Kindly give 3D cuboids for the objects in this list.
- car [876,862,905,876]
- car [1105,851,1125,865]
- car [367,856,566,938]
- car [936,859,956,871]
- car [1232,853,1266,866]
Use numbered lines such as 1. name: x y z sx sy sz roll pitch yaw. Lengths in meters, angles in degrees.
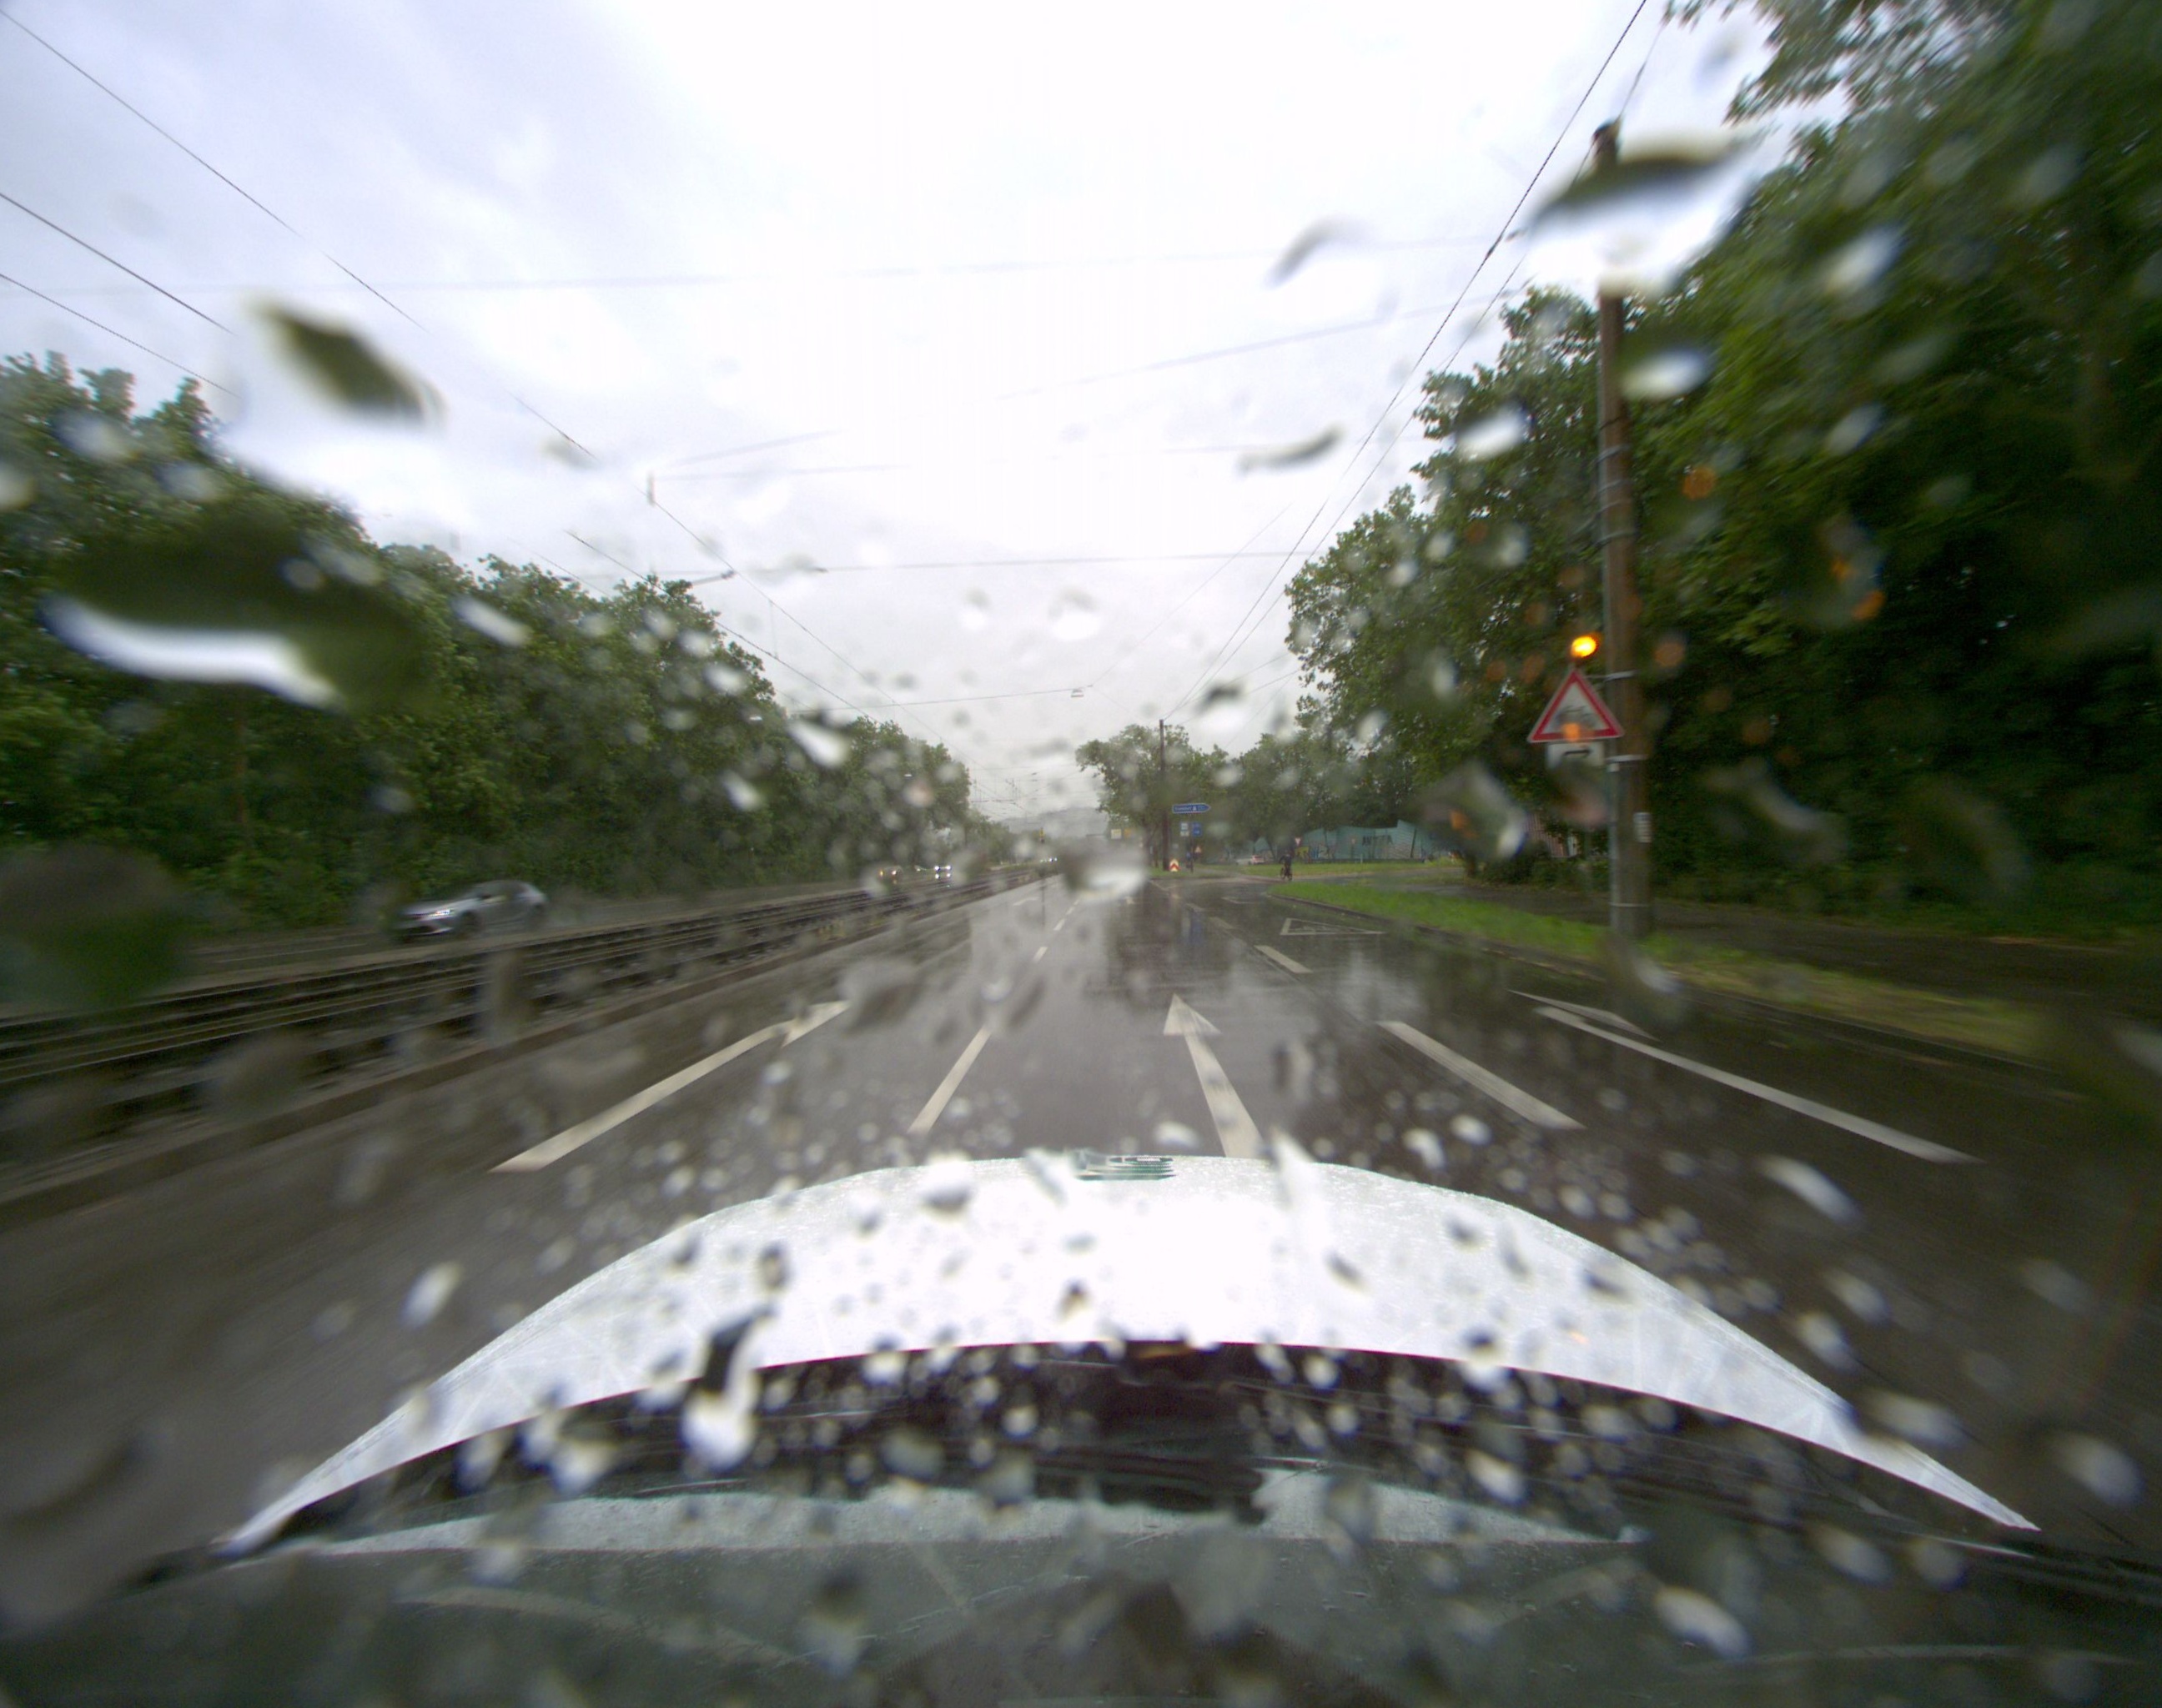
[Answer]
1. car: -18.591 1.451 79.752 1.765 1.330 4.380 -1 0 0
2. car: 3.602 0.450 87.468 2.070 1.420 4.001 -3 0 2
3. car: -15.735 1.016 21.170 1.986 1.782 4.001 3 0 1
4. car: -17.712 1.415 106.806 1.685 1.523 4.955 -1 0 0
5. car: 22.089 0.743 107.077 1.960 1.536 4.425 -1 0 -28
